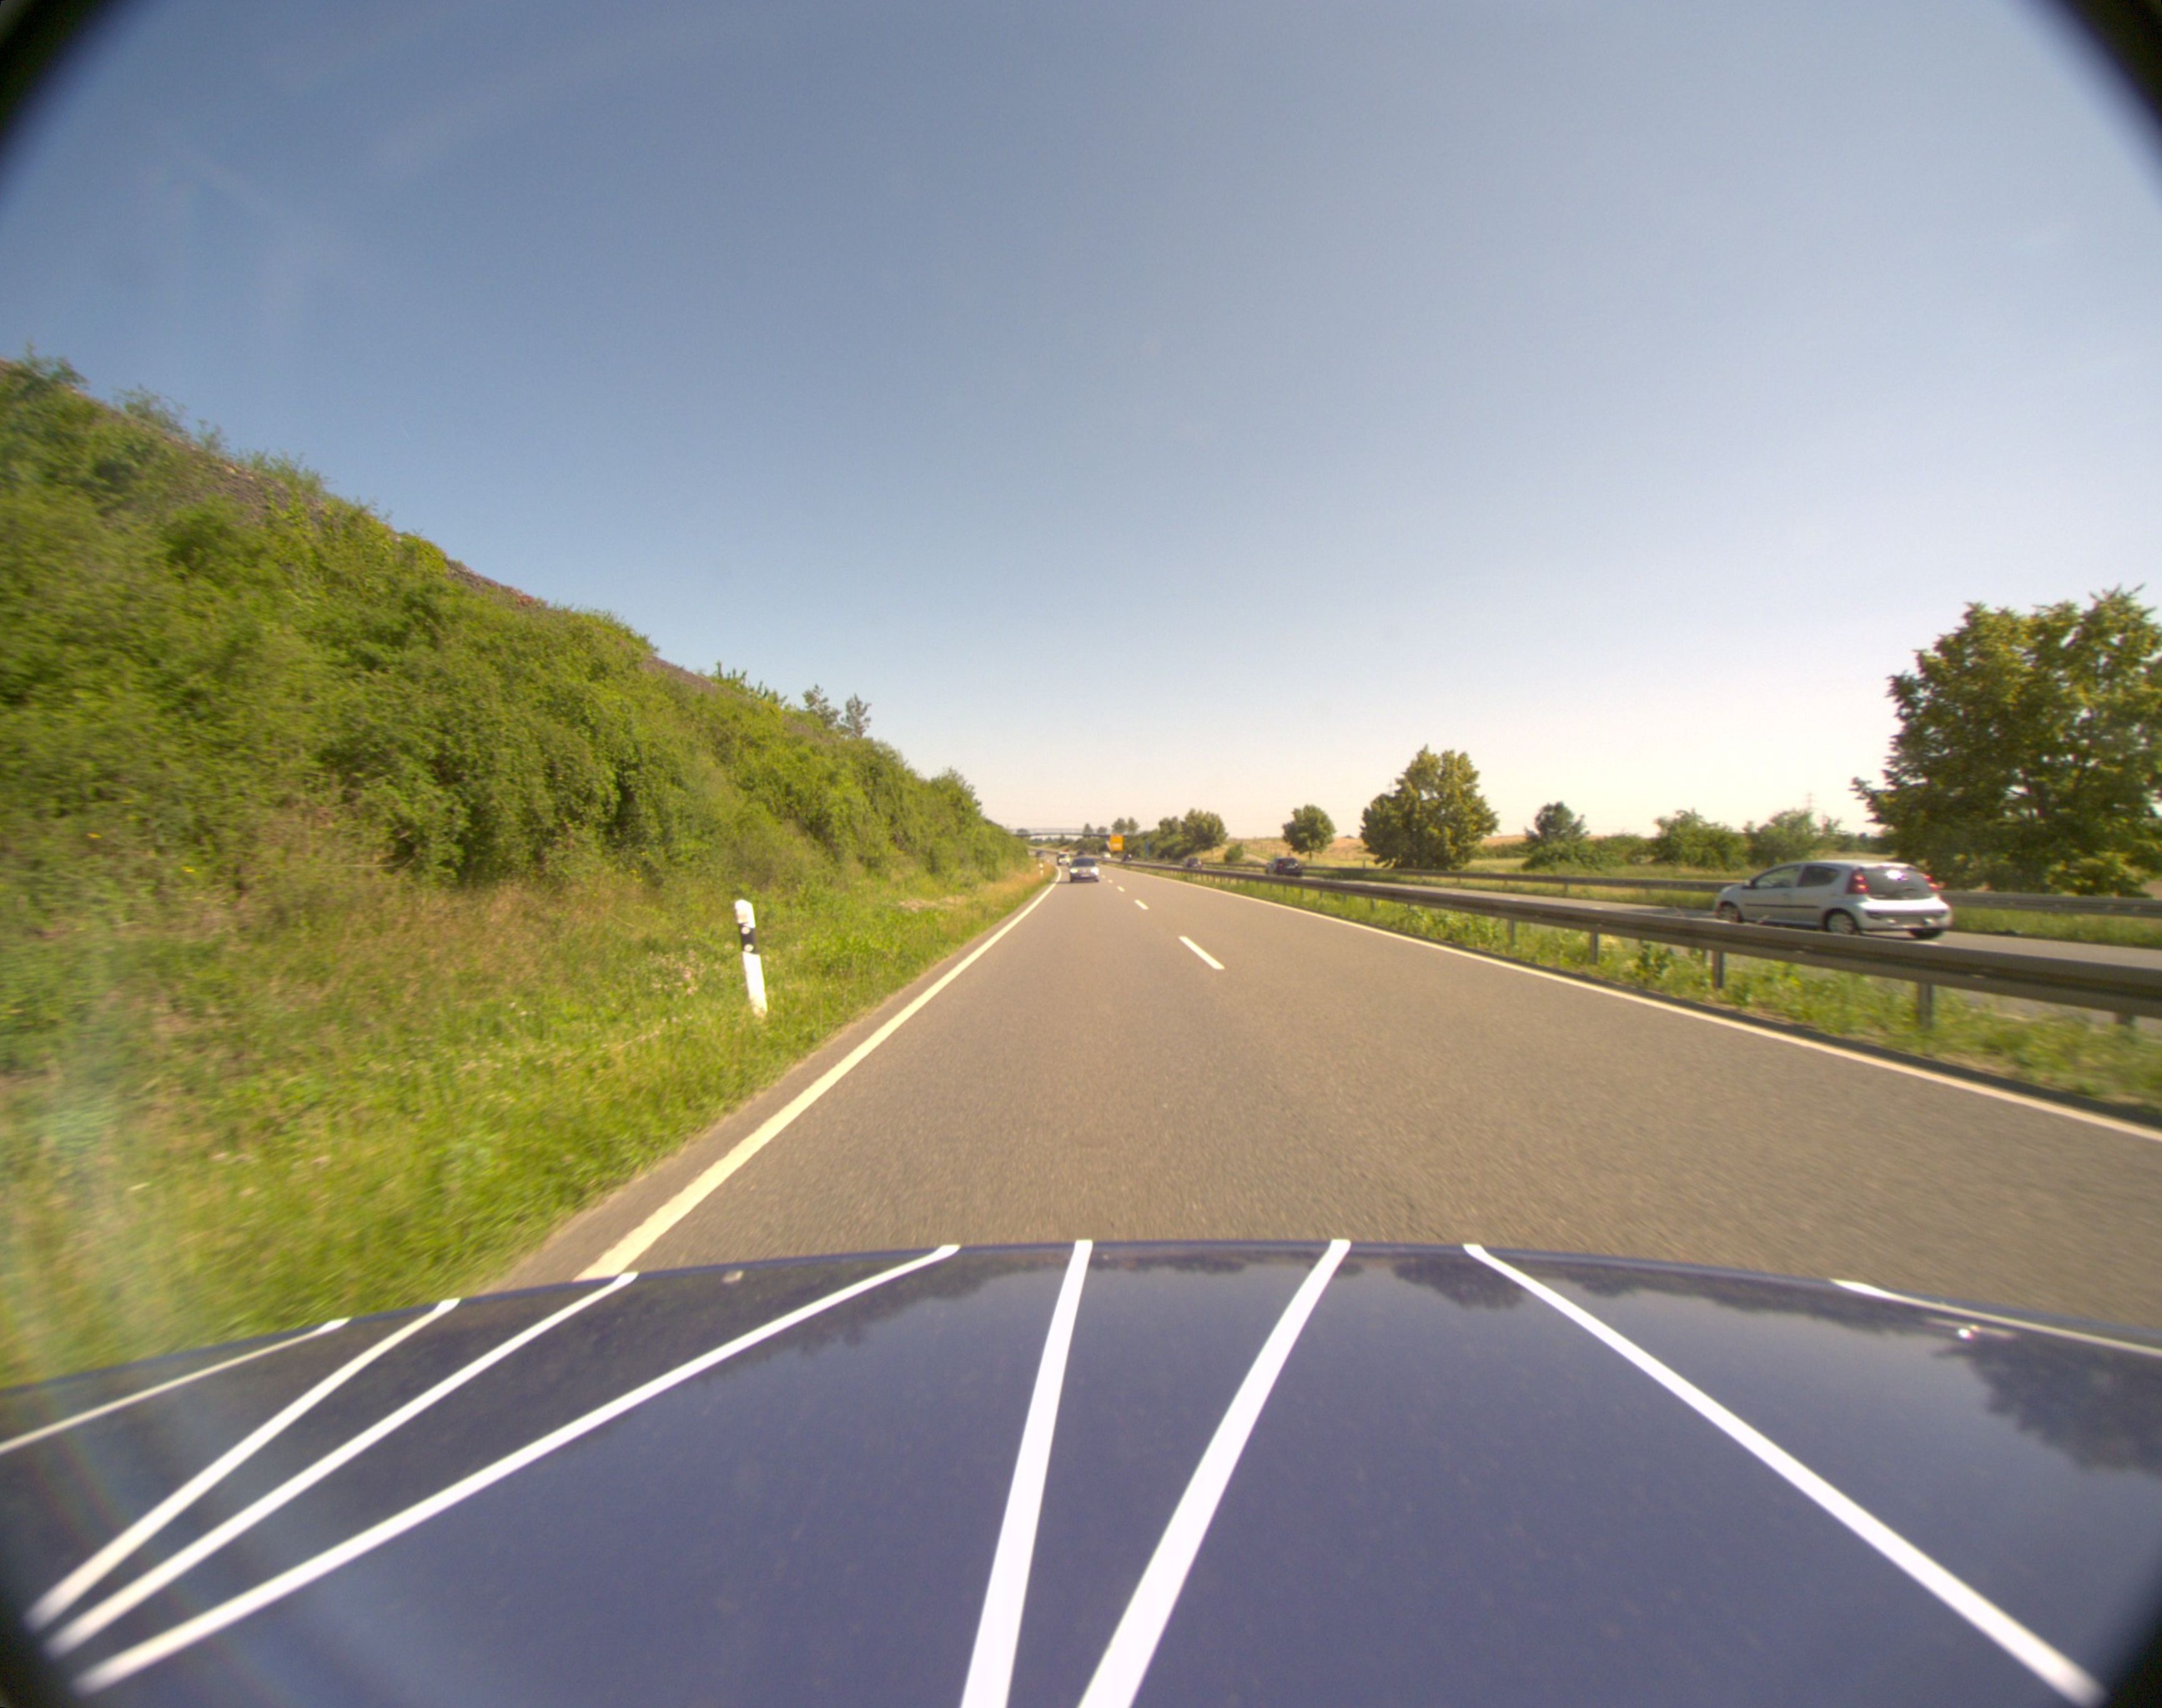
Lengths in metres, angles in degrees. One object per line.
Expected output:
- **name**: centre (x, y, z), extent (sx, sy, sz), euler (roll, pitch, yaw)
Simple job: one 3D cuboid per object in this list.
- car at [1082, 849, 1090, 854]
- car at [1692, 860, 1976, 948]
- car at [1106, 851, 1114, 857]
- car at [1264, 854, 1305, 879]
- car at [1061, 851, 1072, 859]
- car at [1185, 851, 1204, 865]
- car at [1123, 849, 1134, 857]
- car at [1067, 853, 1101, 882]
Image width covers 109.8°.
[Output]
- **car**: centre (1.462, -0.836, 219.824), extent (1.877, 1.393, 4.321), euler (-3, 1, -2)
- **car**: centre (14.478, 0.872, 14.976), extent (1.694, 1.428, 3.939), euler (-1, 0, 0)
- **car**: centre (7.037, -0.058, 185.655), extent (1.673, 1.424, 4.347), euler (-3, 1, -2)
- **car**: centre (13.583, 0.811, 50.939), extent (1.694, 1.532, 4.244), euler (-1, 0, 2)
- **car**: centre (-2.421, 0.215, 128.685), extent (1.790, 1.212, 3.998), euler (-1, 1, -2)
- **car**: centre (13.970, 0.489, 93.831), extent (1.656, 1.544, 4.561), euler (-3, 0, 0)
- **car**: centre (9.711, -0.143, 156.748), extent (1.759, 1.524, 3.999), euler (-3, 0, -3)
- **car**: centre (0.223, 0.815, 47.773), extent (1.854, 1.635, 4.001), euler (-2, 0, 4)
